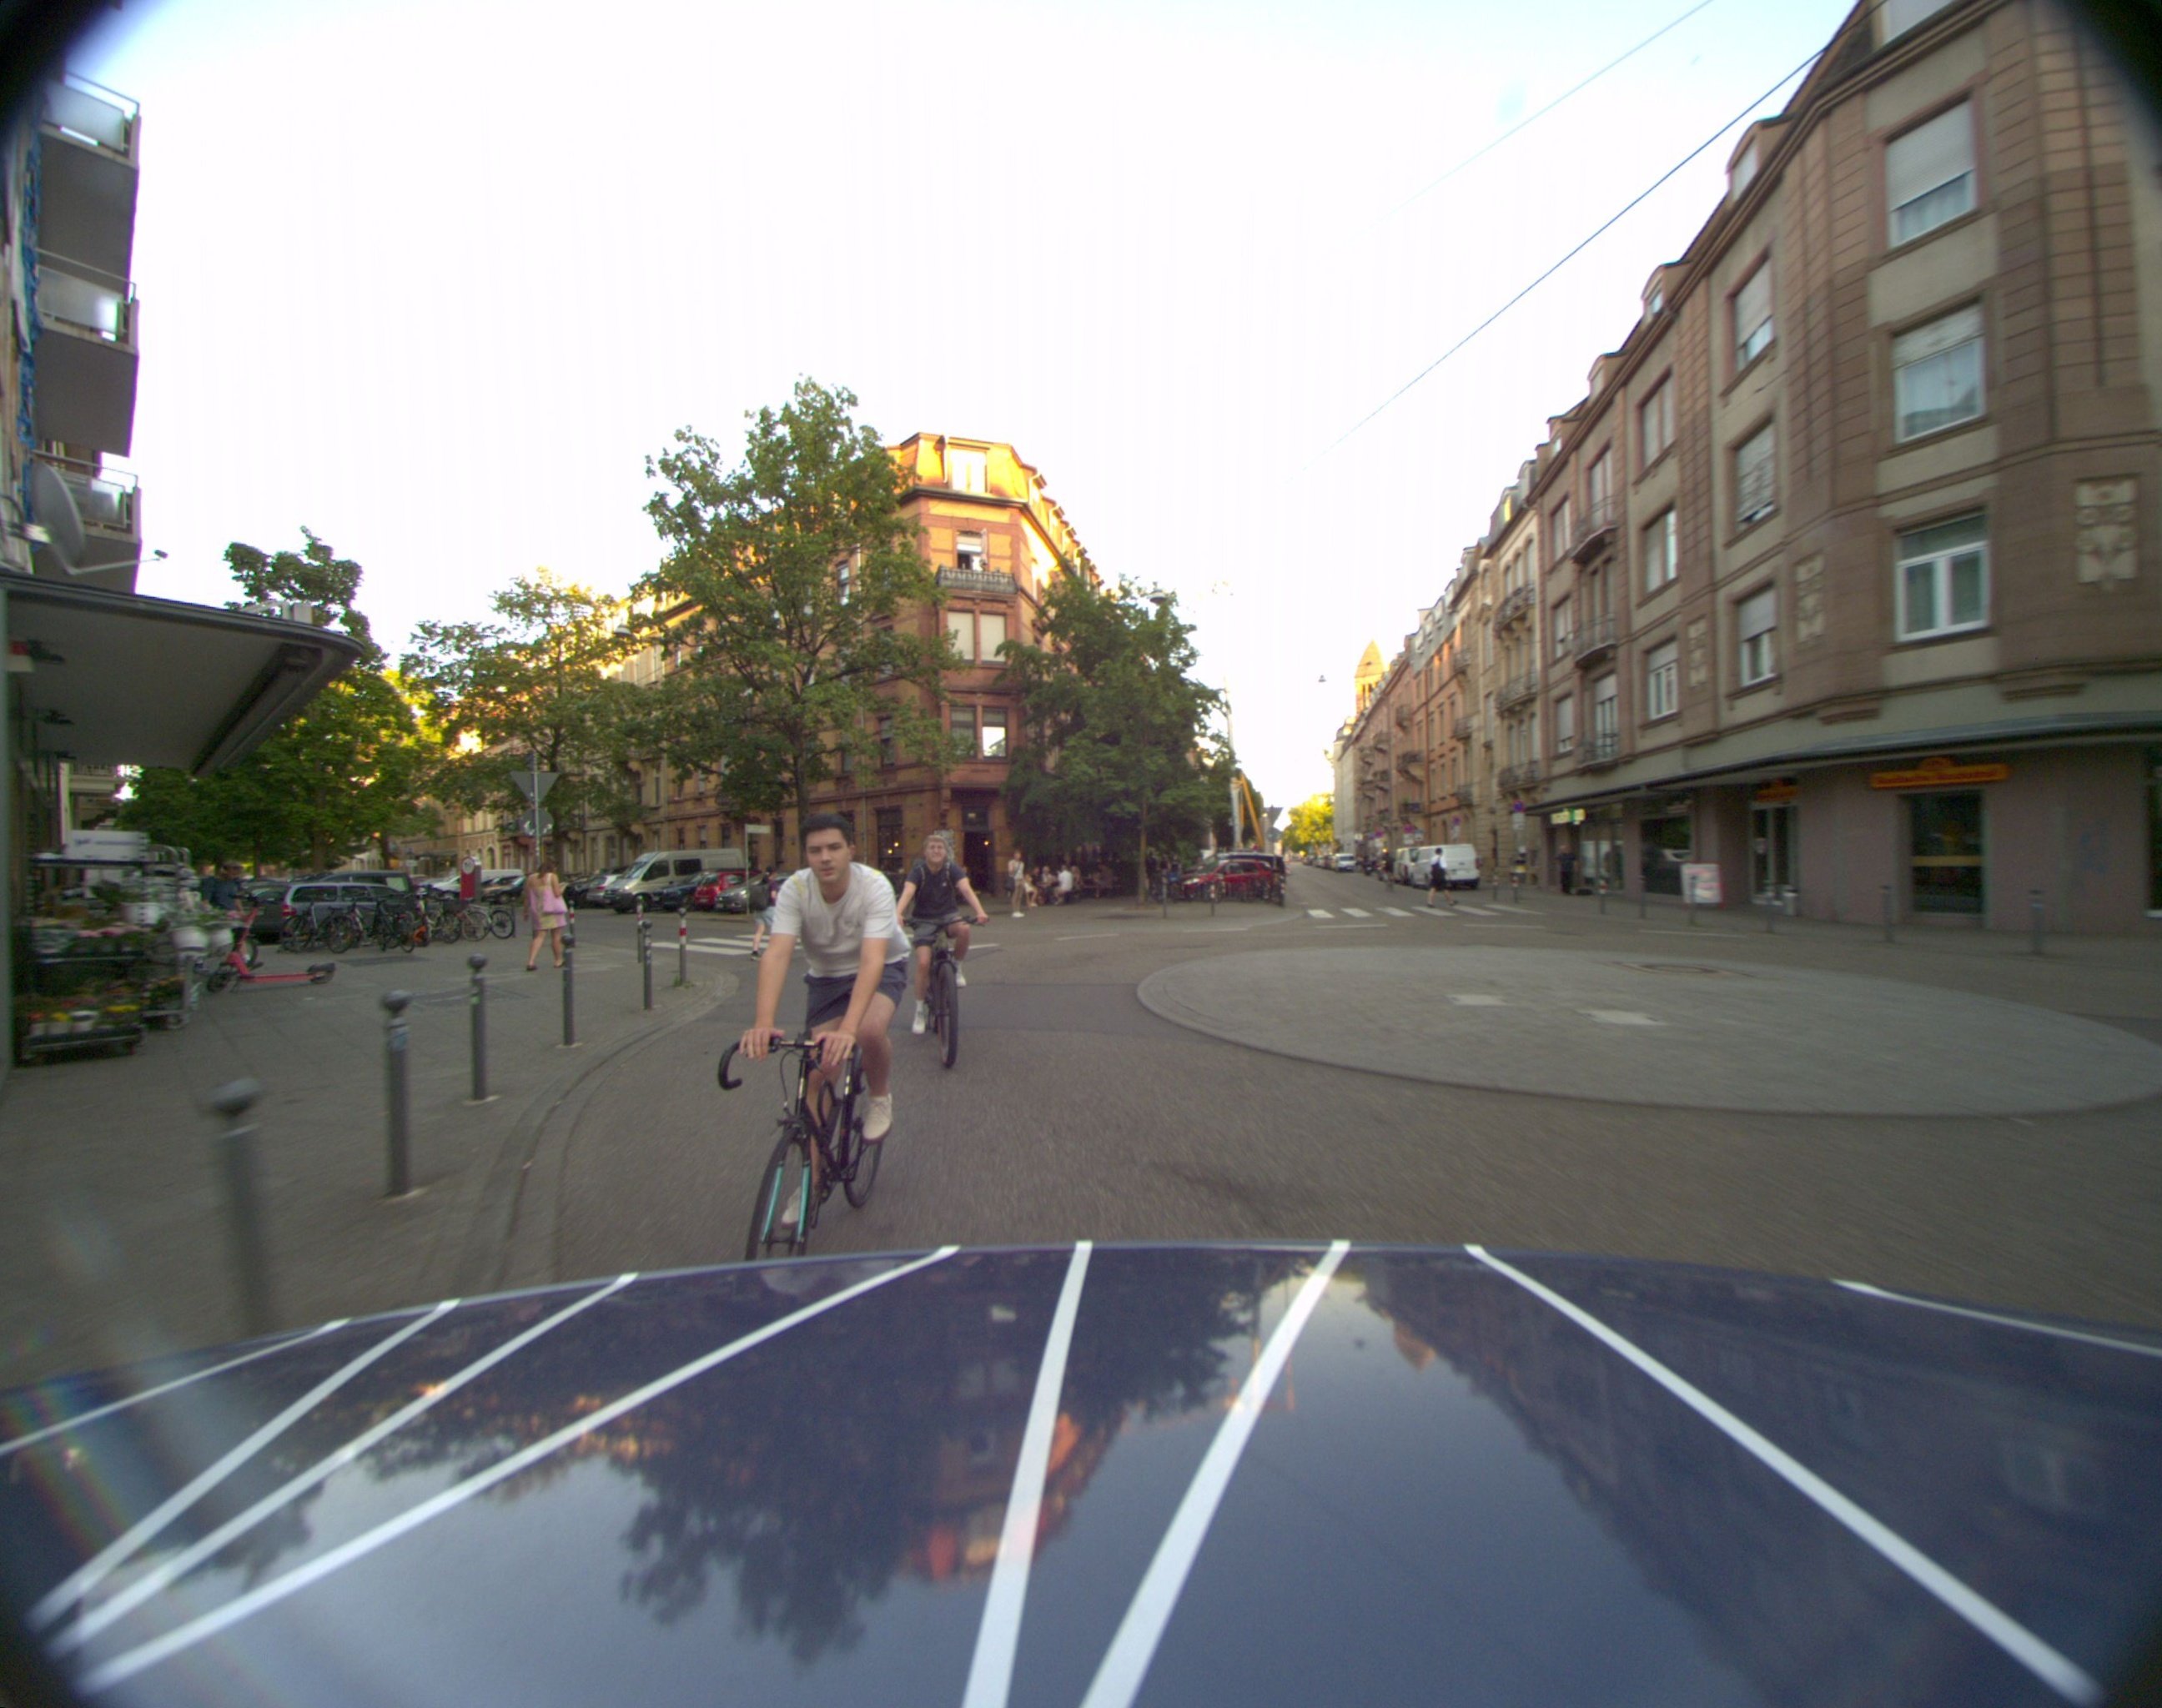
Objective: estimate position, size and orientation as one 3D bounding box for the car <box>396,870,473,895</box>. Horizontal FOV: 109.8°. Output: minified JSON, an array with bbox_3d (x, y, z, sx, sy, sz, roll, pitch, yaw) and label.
[{"bbox_3d":[-47.267,2.064,55.597,1.787,1.539,3.919,-1,1,36],"label":"car"}]

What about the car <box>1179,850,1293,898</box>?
[{"bbox_3d":[7.714,0.952,38.075,5.147,2.085,2.115,-2,1,-11],"label":"car"}]

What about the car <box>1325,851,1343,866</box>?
[{"bbox_3d":[30.577,0.526,91.992,1.996,1.729,4.004,-2,1,17],"label":"car"}]

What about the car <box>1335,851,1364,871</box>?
[{"bbox_3d":[25.789,0.652,73.134,2.139,1.811,4.545,-2,0,14],"label":"car"}]

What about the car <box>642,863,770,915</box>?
[{"bbox_3d":[-14.520,1.296,29.590,1.759,1.653,3.983,-1,2,39],"label":"car"}]

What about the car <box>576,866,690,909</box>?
[{"bbox_3d":[-20.065,1.460,34.134,1.759,1.653,3.983,-1,1,39],"label":"car"}]

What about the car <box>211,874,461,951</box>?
[{"bbox_3d":[-18.439,1.366,19.181,1.791,1.479,4.451,-2,1,2],"label":"car"}]

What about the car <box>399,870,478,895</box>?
[{"bbox_3d":[-45.762,2.033,54.200,1.787,1.525,3.919,-1,1,36],"label":"car"}]

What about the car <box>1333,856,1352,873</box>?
[{"bbox_3d":[28.585,1.128,83.188,1.838,1.633,3.929,-2,1,17],"label":"car"}]

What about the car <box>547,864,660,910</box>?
[{"bbox_3d":[-21.989,1.477,35.119,1.846,1.814,3.983,-1,1,39],"label":"car"}]

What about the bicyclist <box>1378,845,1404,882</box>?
[{"bbox_3d":[13.871,0.430,34.031,0.754,1.630,1.202,-1,0,8],"label":"bicyclist"}]

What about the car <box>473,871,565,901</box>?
[{"bbox_3d":[-32.738,1.840,44.378,1.728,1.528,3.876,-1,1,33],"label":"car"}]

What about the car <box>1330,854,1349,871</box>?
[{"bbox_3d":[29.622,0.959,87.137,1.996,1.729,4.004,-2,1,17],"label":"car"}]

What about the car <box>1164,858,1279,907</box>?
[{"bbox_3d":[5.470,1.066,29.719,4.002,1.658,1.825,-2,1,-17],"label":"car"}]

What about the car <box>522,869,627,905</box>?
[{"bbox_3d":[-25.665,1.651,38.620,1.846,1.528,3.983,-1,1,33],"label":"car"}]

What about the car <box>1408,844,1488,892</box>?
[{"bbox_3d":[16.242,0.580,33.885,2.139,1.946,4.774,-2,0,13],"label":"car"}]

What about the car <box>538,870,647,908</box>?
[{"bbox_3d":[-23.751,1.664,37.064,1.846,1.528,3.983,-1,1,33],"label":"car"}]

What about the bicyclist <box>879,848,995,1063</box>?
[{"bbox_3d":[-1.143,0.758,6.079,0.794,1.562,0.826,-2,-1,-10],"label":"bicyclist"}]

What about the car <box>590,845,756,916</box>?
[{"bbox_3d":[-16.556,0.973,31.181,2.115,2.443,5.498,-1,2,36],"label":"car"}]

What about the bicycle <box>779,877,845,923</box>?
[{"bbox_3d":[-8.082,1.370,22.923,0.711,1.232,1.887,-2,1,25],"label":"bicycle"}]

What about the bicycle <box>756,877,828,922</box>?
[{"bbox_3d":[-8.857,1.374,23.328,1.888,1.232,0.710,-3,1,-44],"label":"bicycle"}]

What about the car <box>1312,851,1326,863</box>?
[{"bbox_3d":[35.188,0.421,112.321,1.906,1.729,3.854,-2,1,17],"label":"car"}]

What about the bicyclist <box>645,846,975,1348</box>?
[{"bbox_3d":[-0.922,0.736,2.816,0.649,1.500,0.954,-2,1,16],"label":"bicyclist"}]

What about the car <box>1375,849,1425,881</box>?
[{"bbox_3d":[18.987,0.624,45.417,2.139,1.811,4.545,-2,0,15],"label":"car"}]

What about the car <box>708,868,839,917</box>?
[{"bbox_3d":[-10.803,1.309,26.931,1.623,1.412,3.983,-1,1,39],"label":"car"}]

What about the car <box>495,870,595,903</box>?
[{"bbox_3d":[-29.135,1.744,41.380,1.846,1.528,3.983,-1,1,33],"label":"car"}]

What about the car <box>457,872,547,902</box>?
[{"bbox_3d":[-34.596,1.927,45.467,1.728,1.528,3.876,-1,1,33],"label":"car"}]

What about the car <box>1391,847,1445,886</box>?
[{"bbox_3d":[17.510,0.609,39.678,1.877,1.892,4.331,-2,0,15],"label":"car"}]

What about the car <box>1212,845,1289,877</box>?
[{"bbox_3d":[12.820,0.512,57.565,5.147,2.182,2.336,-2,1,-11],"label":"car"}]

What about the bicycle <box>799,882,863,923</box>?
[{"bbox_3d":[-7.486,1.430,22.844,0.711,1.072,1.887,-2,1,25],"label":"bicycle"}]

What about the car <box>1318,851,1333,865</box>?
[{"bbox_3d":[34.306,0.560,106.736,1.866,1.729,3.804,-2,1,17],"label":"car"}]

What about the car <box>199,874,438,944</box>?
[{"bbox_3d":[-20.656,1.414,20.930,1.949,1.479,4.451,-2,1,2],"label":"car"}]

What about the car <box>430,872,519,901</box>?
[{"bbox_3d":[-37.445,1.982,46.976,1.728,1.528,3.876,-1,1,33],"label":"car"}]

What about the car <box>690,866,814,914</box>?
[{"bbox_3d":[-12.399,1.306,28.840,1.623,1.494,3.983,-1,1,39],"label":"car"}]

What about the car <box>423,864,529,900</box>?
[{"bbox_3d":[-39.232,1.781,49.402,2.197,2.000,4.858,-1,1,35],"label":"car"}]

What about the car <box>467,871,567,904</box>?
[{"bbox_3d":[-31.235,1.812,42.203,1.846,1.528,3.983,-1,1,33],"label":"car"}]
